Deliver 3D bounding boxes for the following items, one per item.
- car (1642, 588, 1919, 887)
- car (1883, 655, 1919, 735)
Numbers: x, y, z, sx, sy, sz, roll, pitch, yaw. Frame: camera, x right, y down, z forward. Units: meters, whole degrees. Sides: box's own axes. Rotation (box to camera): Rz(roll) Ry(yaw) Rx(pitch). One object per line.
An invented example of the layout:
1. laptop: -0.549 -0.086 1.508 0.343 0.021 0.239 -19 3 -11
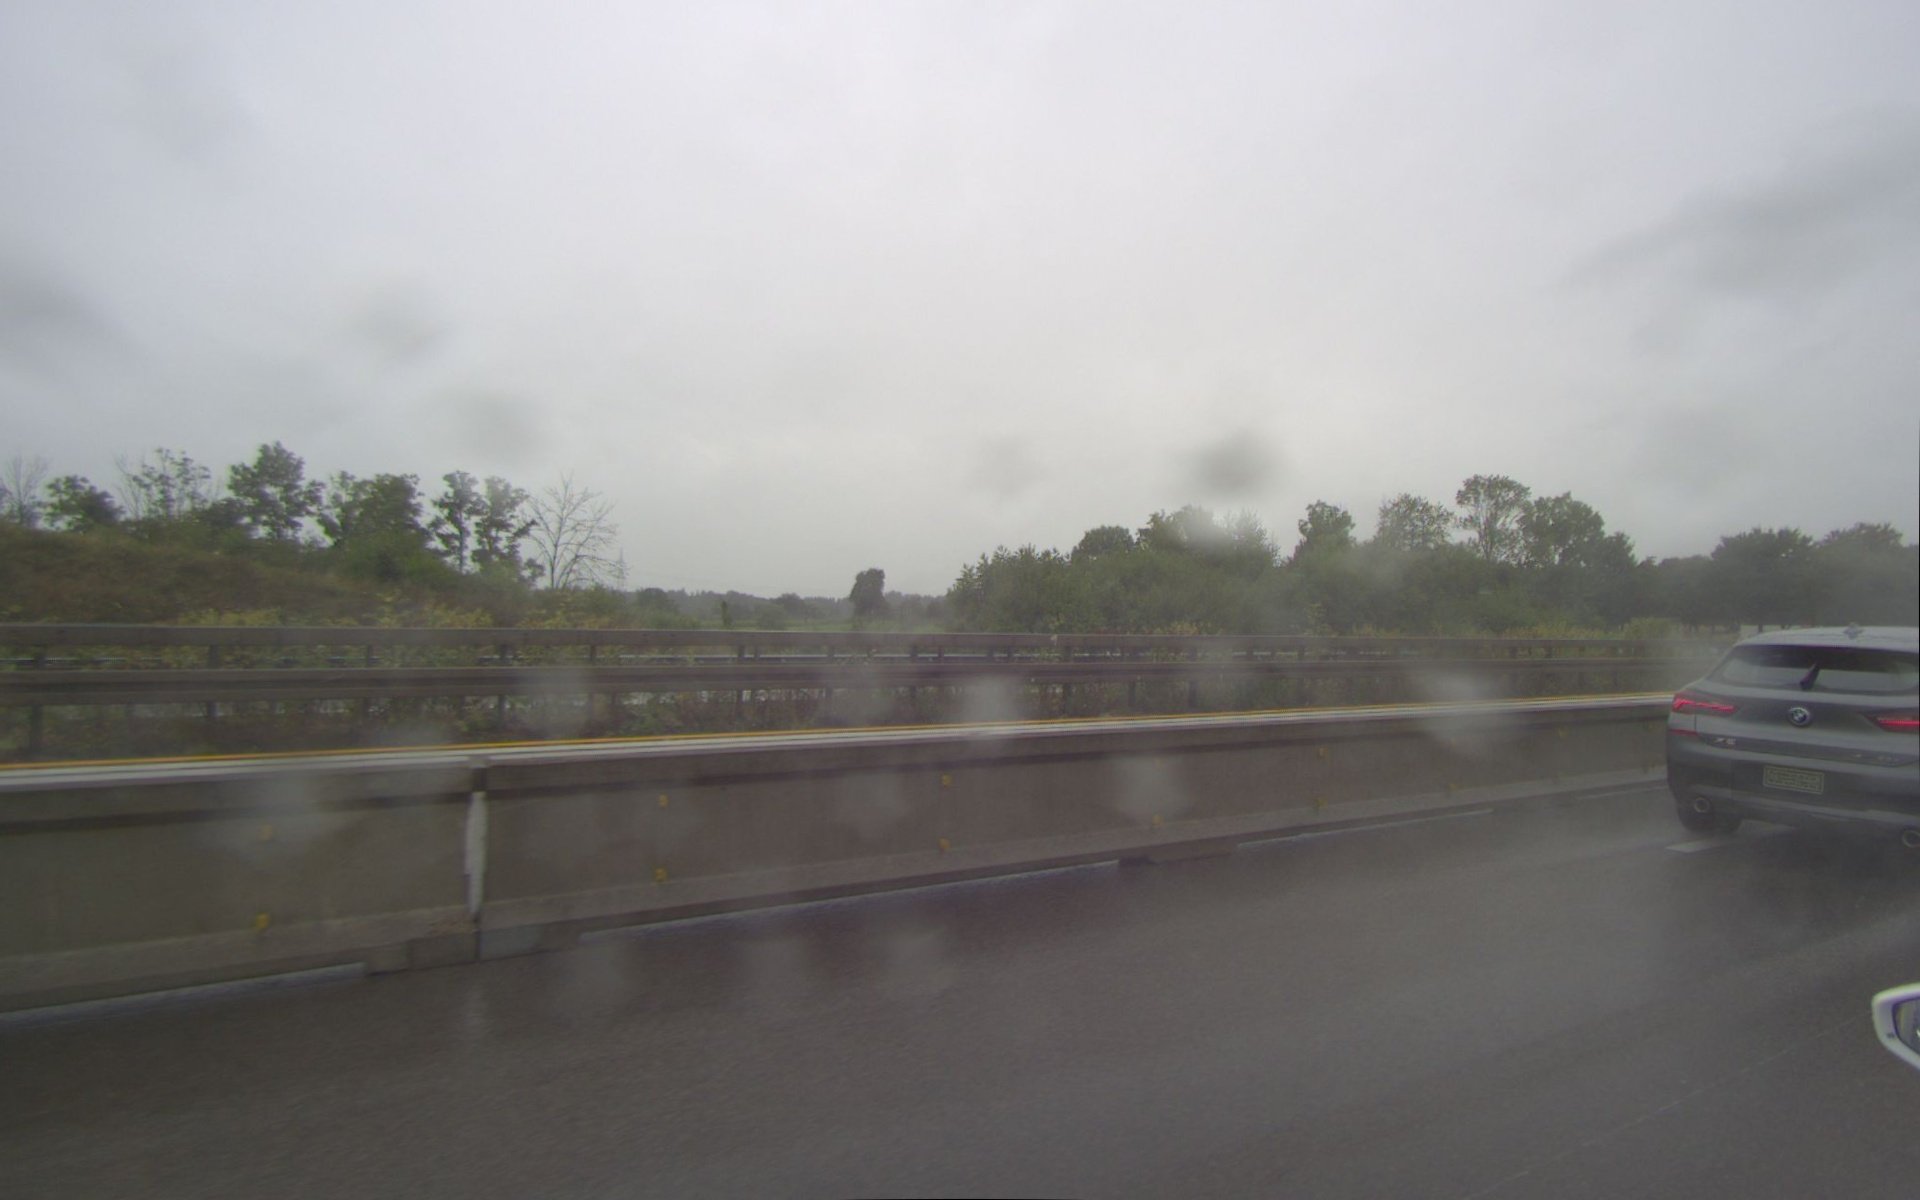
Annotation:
1. car: 6.989 0.808 7.131 4.789 1.619 1.692 2 -1 -31
2. car: 20.952 1.947 20.343 4.665 1.526 2.028 2 -1 -30
